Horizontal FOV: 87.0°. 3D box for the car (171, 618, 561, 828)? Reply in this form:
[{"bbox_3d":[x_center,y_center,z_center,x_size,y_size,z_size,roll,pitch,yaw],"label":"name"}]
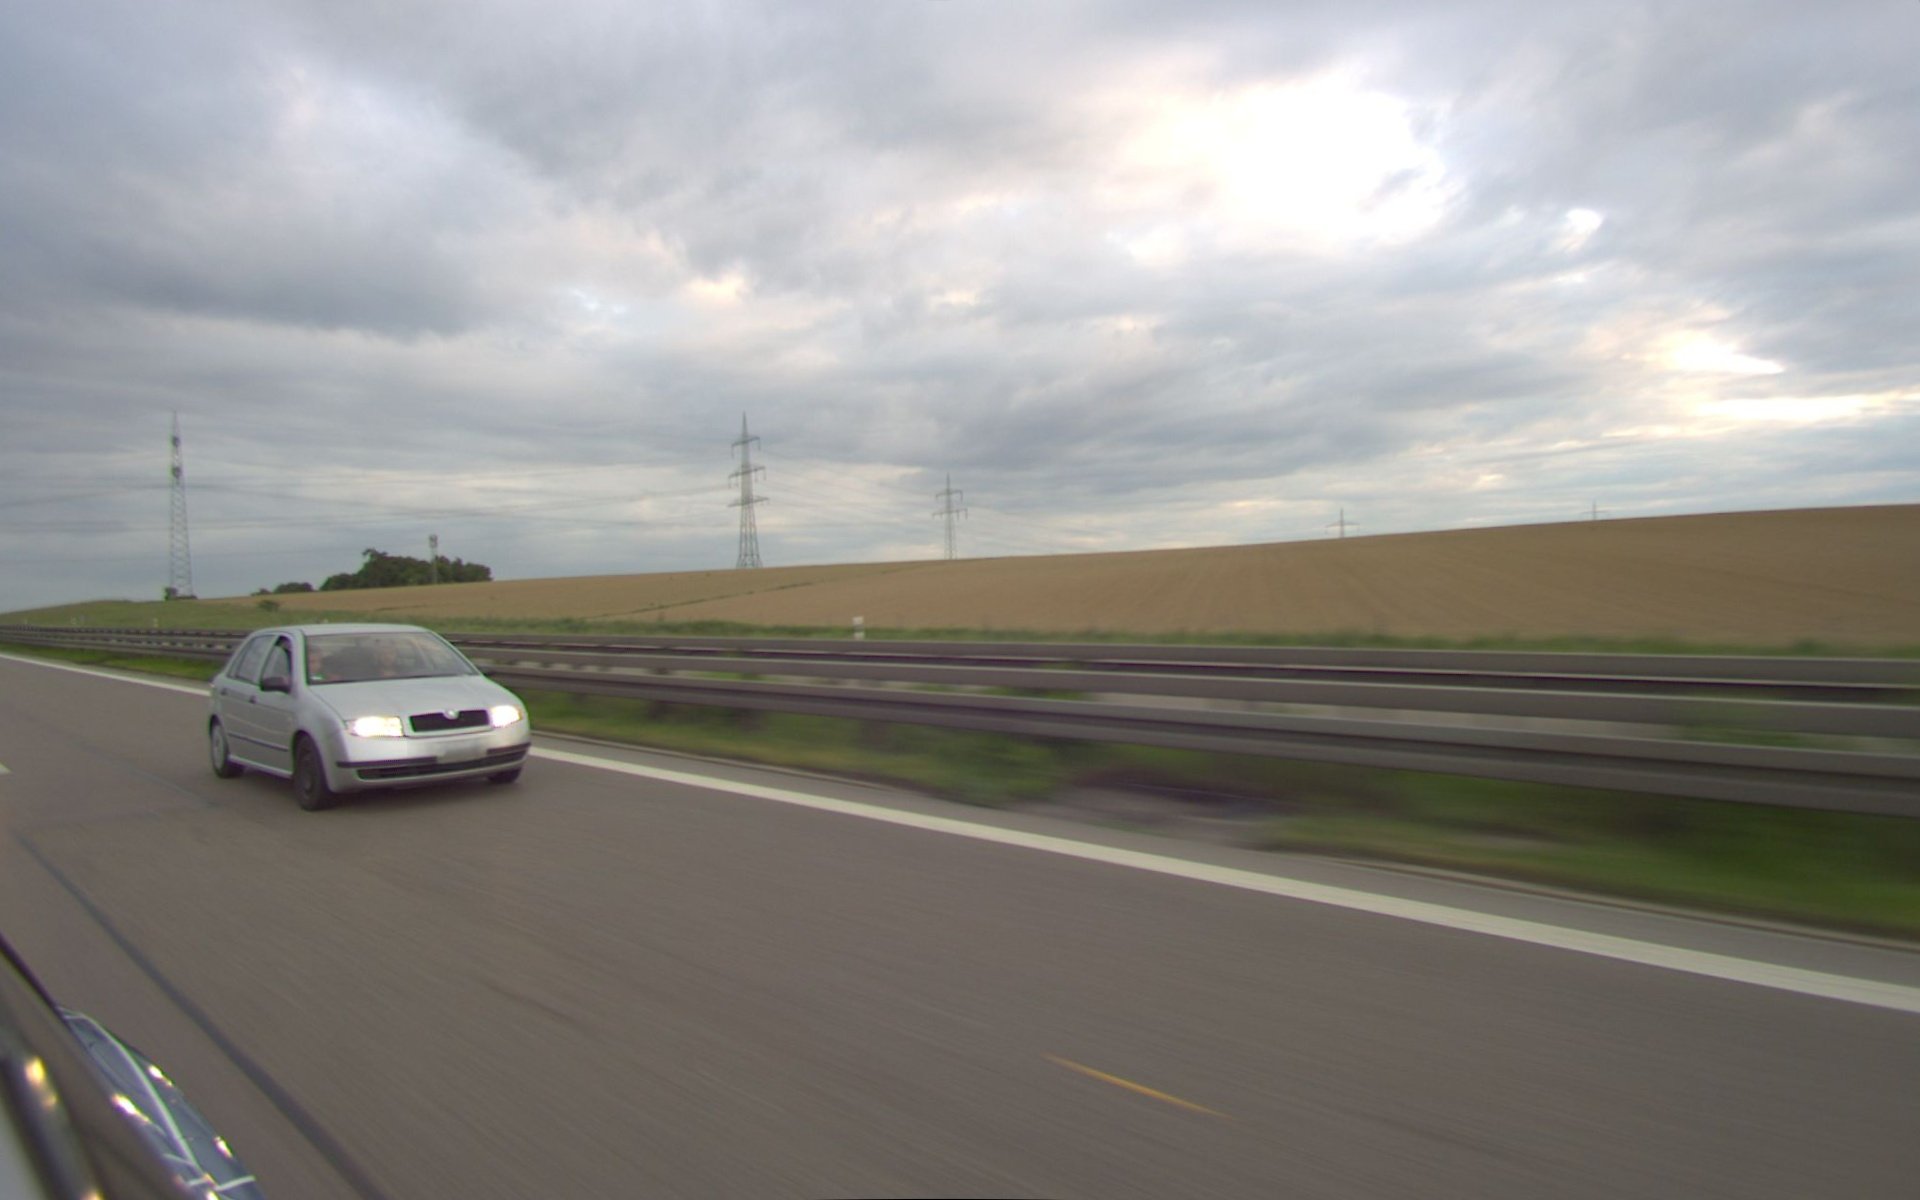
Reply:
[{"bbox_3d":[-5.454,0.884,8.995,4.598,1.400,1.572,-1,-1,40],"label":"car"}]
